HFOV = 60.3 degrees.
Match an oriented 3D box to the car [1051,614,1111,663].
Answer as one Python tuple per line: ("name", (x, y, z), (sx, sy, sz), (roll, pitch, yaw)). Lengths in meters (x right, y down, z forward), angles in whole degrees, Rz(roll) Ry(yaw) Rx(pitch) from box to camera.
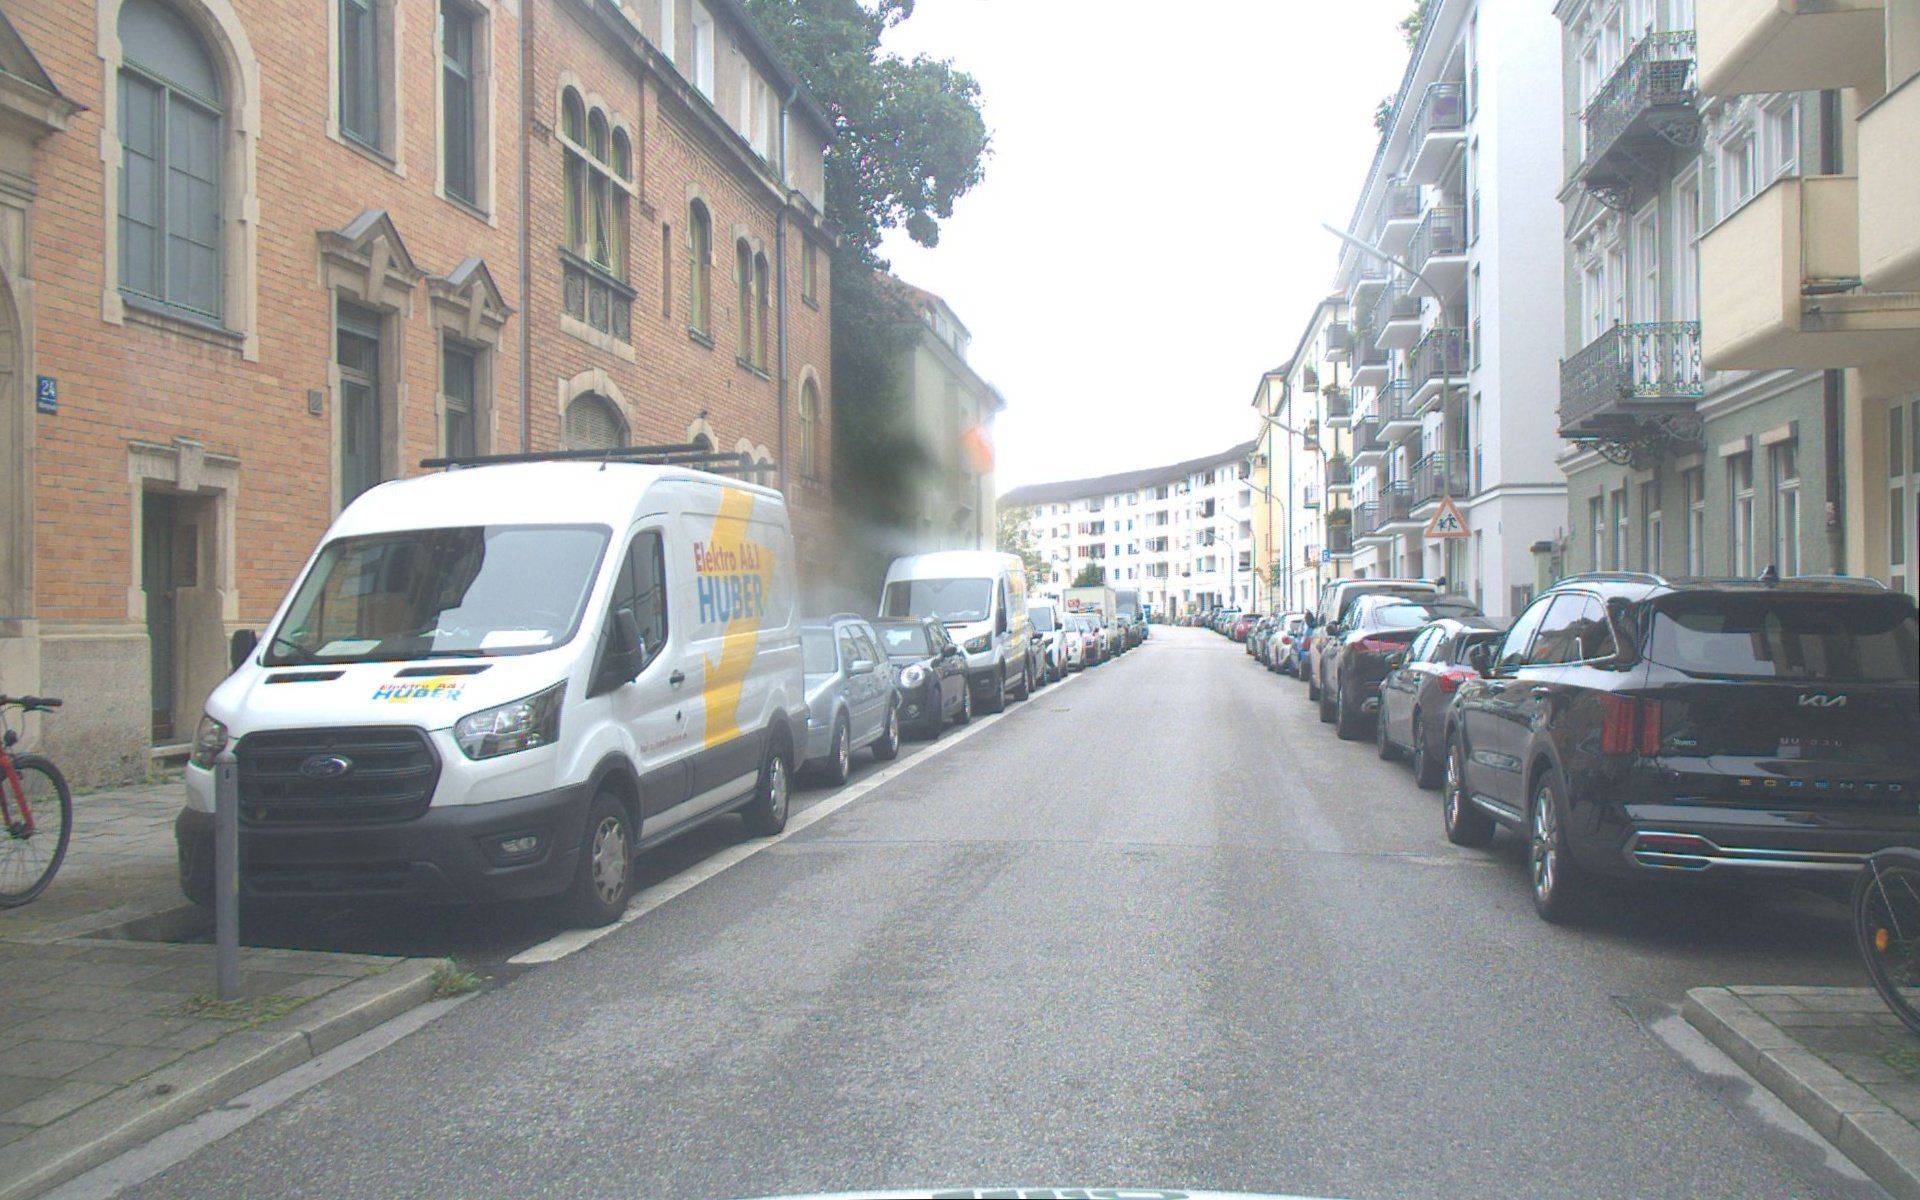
("car", (3.964, 1.223, 53.655), (1.757, 1.494, 3.870), (-1, -1, 7))

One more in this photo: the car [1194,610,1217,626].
("car", (21.828, 1.593, 147.362), (1.745, 1.409, 4.002), (0, 0, 4))

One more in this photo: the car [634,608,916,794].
("car", (-1.605, 0.862, 15.770), (1.653, 1.480, 4.000), (-3, -1, 8))

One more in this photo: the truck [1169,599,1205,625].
("truck", (21.200, 1.116, 154.651), (2.182, 2.341, 5.283), (0, 0, -6))

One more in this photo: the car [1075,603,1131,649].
("car", (5.924, 1.066, 68.071), (1.951, 1.793, 4.384), (-1, -1, 9))

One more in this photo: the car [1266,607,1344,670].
("car", (8.475, 0.942, 40.836), (1.614, 1.459, 4.003), (-1, -1, 8))

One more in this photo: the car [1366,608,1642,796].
("car", (4.945, 0.841, 15.626), (1.691, 1.485, 4.419), (1, 0, 8))

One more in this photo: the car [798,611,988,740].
("car", (-0.750, 0.895, 21.010), (1.662, 1.456, 3.833), (-2, -1, 9))

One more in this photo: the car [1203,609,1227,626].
("car", (21.705, 1.498, 140.986), (1.745, 1.409, 4.002), (0, 0, 4))

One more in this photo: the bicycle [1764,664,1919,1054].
("bicycle", (3.242, 0.805, 4.959), (0.568, 1.174, 1.961), (-1, -1, -4))

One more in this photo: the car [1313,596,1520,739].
("car", (5.575, 0.786, 20.763), (1.820, 1.578, 4.757), (-1, -1, 7))

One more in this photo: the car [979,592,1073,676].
("car", (1.514, 0.738, 36.616), (1.782, 1.741, 4.002), (-1, -1, 6))

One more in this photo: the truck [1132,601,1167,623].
("truck", (20.190, 1.299, 176.340), (2.571, 2.341, 5.432), (0, 0, -7))

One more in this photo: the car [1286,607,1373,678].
("car", (8.089, 0.912, 36.389), (1.574, 1.459, 3.622), (-1, -1, 8))

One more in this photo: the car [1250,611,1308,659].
("car", (10.121, 1.096, 52.651), (1.614, 1.459, 4.003), (-1, -1, 8))

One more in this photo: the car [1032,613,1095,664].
("car", (3.043, 1.109, 48.094), (1.714, 1.392, 4.002), (-1, -1, 4))

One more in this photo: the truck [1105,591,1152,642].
("truck", (8.280, 0.812, 81.057), (1.951, 2.360, 5.414), (-1, -1, 9))

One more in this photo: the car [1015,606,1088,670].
("car", (2.439, 0.986, 43.322), (1.807, 1.567, 4.002), (-1, -1, 4))

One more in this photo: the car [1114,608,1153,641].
("car", (9.722, 1.380, 92.498), (1.951, 1.793, 4.384), (-1, -1, 9))

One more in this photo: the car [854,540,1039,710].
("car", (-0.071, 0.400, 26.244), (2.091, 2.390, 5.374), (-1, -1, 8))

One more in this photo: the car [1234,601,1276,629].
("car", (15.381, 0.764, 86.397), (1.745, 1.409, 4.002), (0, 0, 4))

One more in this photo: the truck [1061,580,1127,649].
("truck", (4.939, 0.547, 60.240), (1.951, 2.360, 5.414), (-1, -1, 9))

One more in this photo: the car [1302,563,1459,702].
("car", (6.619, 0.509, 26.487), (1.830, 2.002, 4.820), (-1, -1, 7))

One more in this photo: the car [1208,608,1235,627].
("car", (20.511, 1.349, 129.979), (1.745, 1.409, 4.002), (0, 0, 4))

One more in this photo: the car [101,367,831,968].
("car", (-2.376, 0.346, 9.829), (1.950, 2.511, 5.475), (-2, -1, 8))

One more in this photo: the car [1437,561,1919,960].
("car", (3.956, 0.707, 9.234), (1.810, 1.667, 4.553), (-1, -1, 8))

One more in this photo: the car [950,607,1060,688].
("car", (0.941, 0.895, 32.248), (1.707, 1.470, 4.003), (-1, -1, 8))

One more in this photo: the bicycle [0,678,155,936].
("bicycle", (-4.406, 0.910, 7.193), (0.567, 1.072, 1.896), (0, -1, 12))

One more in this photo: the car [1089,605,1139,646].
("car", (6.962, 1.150, 74.584), (1.951, 1.793, 4.384), (-1, -1, 9))
